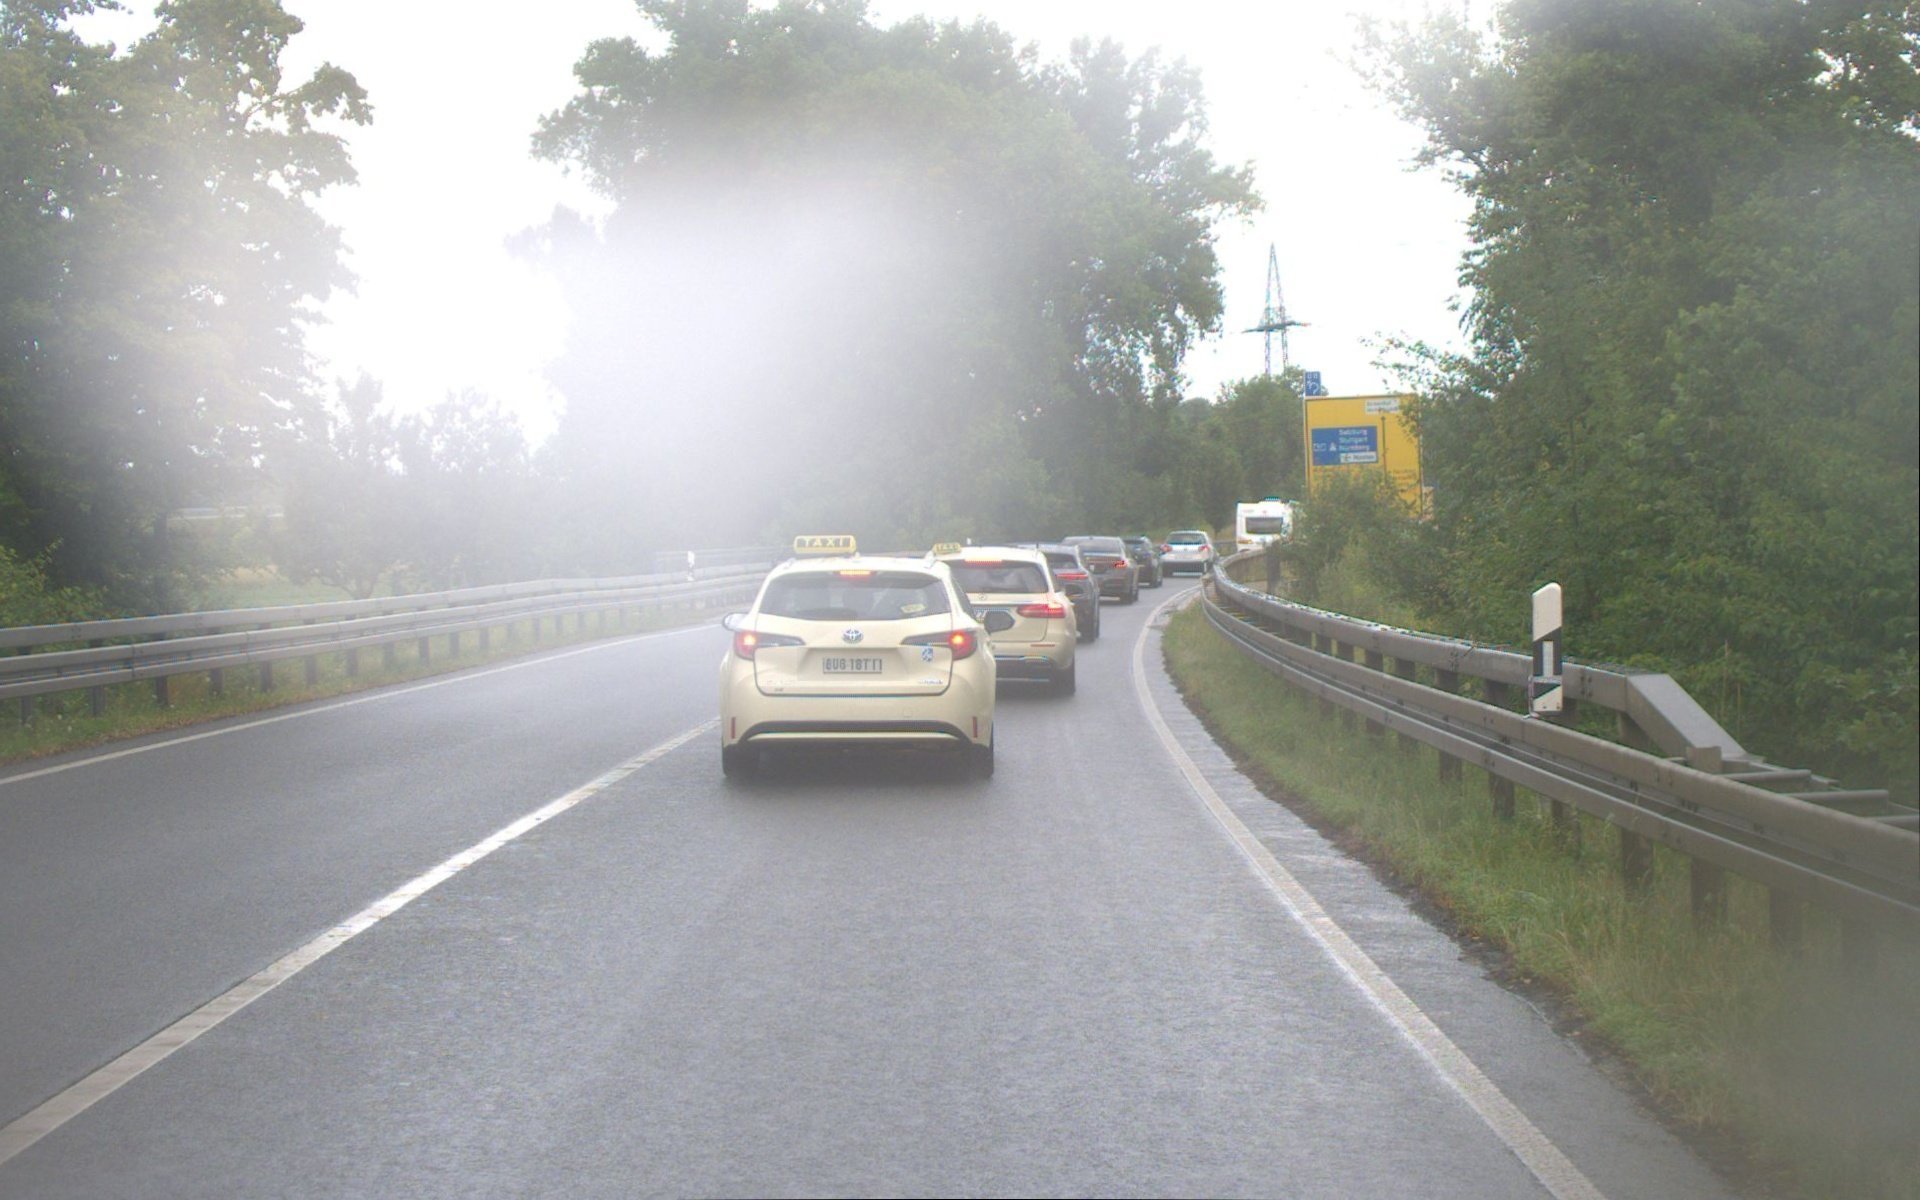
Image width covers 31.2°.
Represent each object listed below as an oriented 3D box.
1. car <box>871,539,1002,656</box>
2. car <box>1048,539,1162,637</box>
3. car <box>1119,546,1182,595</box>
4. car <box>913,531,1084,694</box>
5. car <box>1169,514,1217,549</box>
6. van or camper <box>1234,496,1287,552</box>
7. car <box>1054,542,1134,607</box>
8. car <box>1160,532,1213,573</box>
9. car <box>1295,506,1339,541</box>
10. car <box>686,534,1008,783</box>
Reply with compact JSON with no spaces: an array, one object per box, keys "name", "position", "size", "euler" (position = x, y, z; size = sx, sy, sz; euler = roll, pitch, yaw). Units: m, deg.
[{"name":"car","position":[-0.271,-0.063,44.165],"size":[1.506,1.432,3.355],"euler":[0,1,2]},{"name":"car","position":[2.204,-0.204,52.809],"size":[1.665,1.459,3.477],"euler":[0,1,1]},{"name":"car","position":[5.248,-0.830,94.594],"size":[1.483,1.304,3.476],"euler":[0,1,7]},{"name":"car","position":[0.435,0.087,35.043],"size":[1.578,1.567,3.681],"euler":[0,1,3]},{"name":"car","position":[8.219,-2.400,121.116],"size":[1.373,1.197,3.316],"euler":[1,1,9]},{"name":"van or camper","position":[12.334,-3.099,140.922],"size":[1.994,2.246,3.999],"euler":[0,1,8]},{"name":"car","position":[3.005,-0.554,76.380],"size":[1.660,1.404,3.904],"euler":[0,0,4]},{"name":"car","position":[7.360,-1.548,111.514],"size":[1.483,1.304,3.476],"euler":[0,1,7]},{"name":"car","position":[16.845,-3.606,162.108],"size":[1.647,1.580,3.681],"euler":[1,1,12]},{"name":"car","position":[-0.669,0.323,23.292],"size":[1.906,1.532,4.161],"euler":[0,1,2]}]
